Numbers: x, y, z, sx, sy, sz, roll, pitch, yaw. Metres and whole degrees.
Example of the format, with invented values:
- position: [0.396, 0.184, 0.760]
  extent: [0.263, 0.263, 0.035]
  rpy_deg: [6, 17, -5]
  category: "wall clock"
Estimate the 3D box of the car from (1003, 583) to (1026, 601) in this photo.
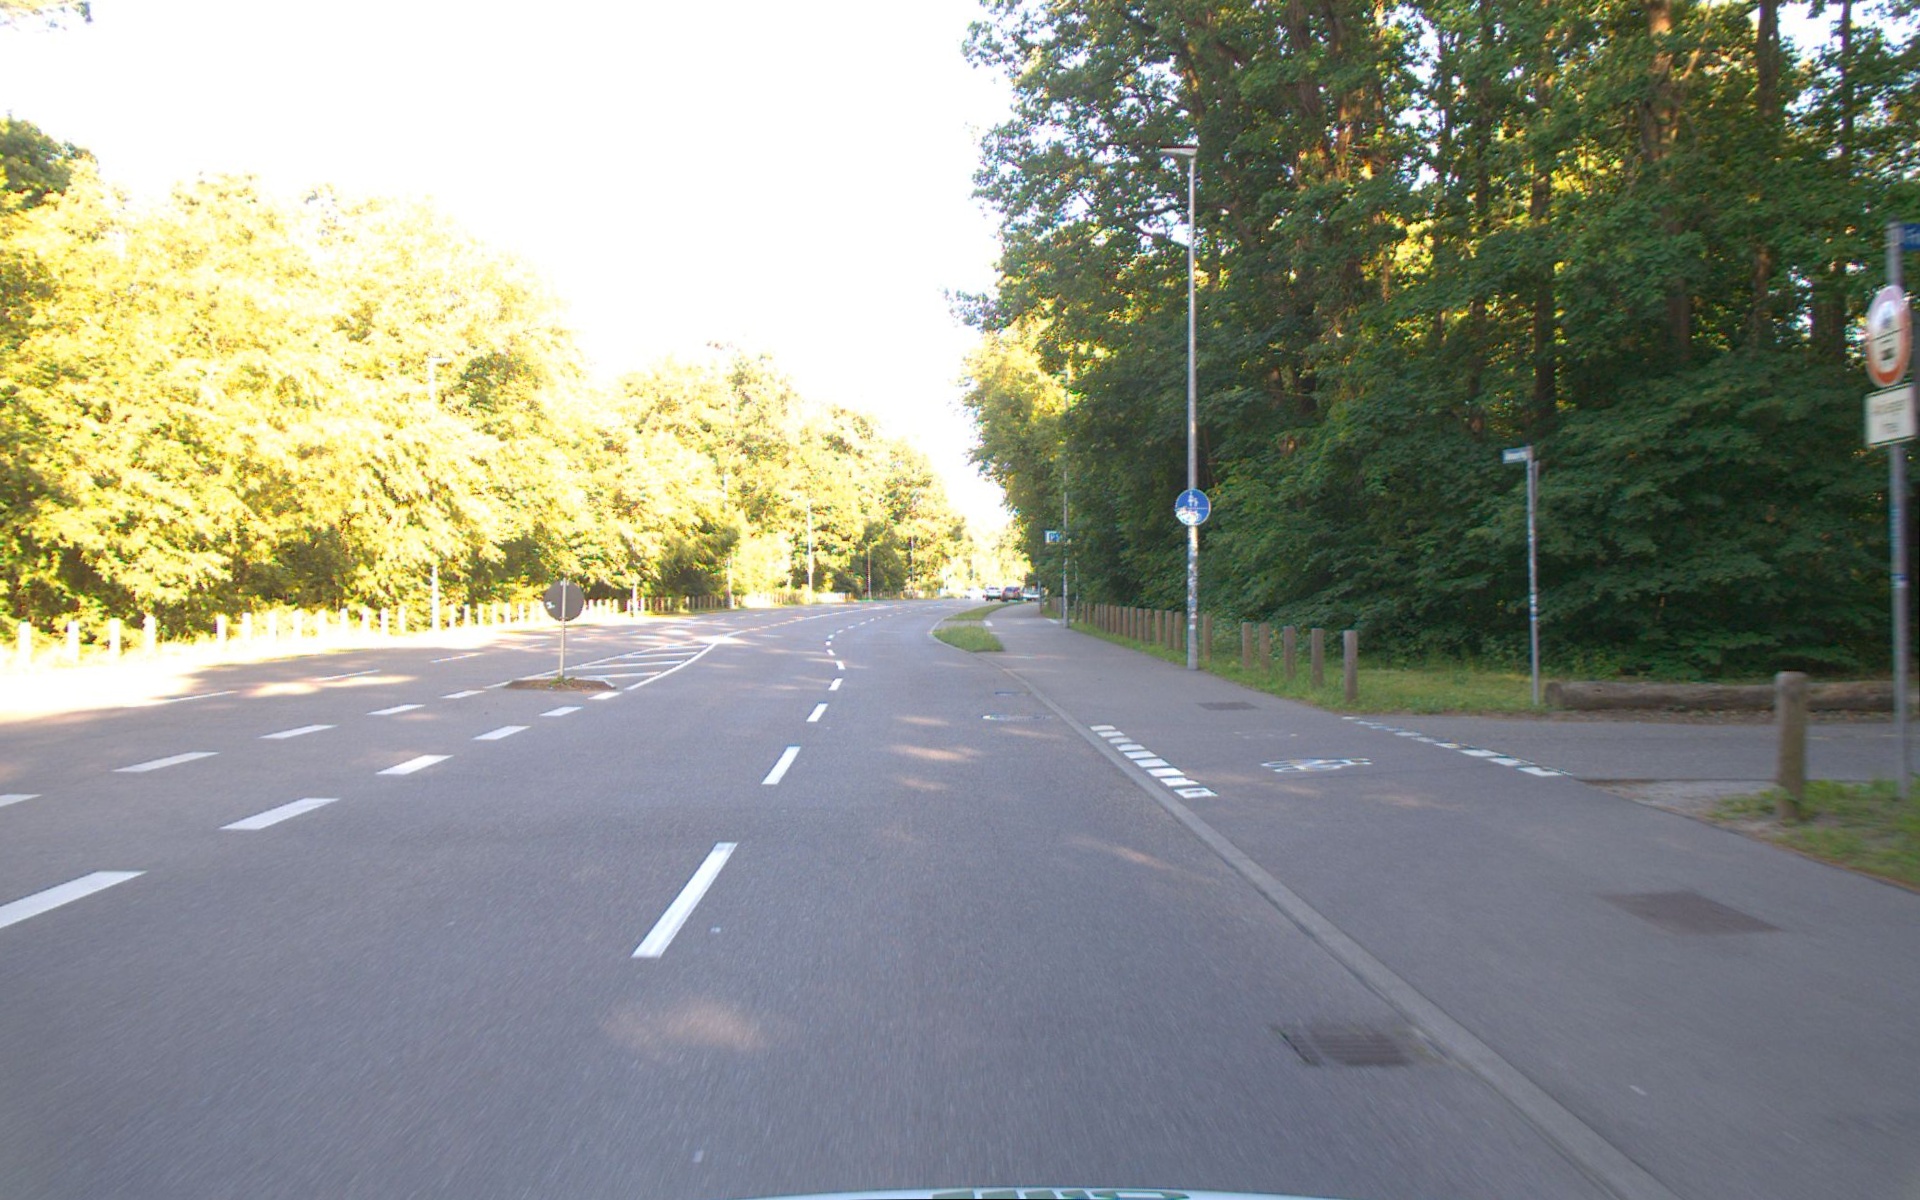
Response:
- position: [5.694, -0.858, 172.136]
  extent: [1.840, 1.796, 4.004]
  rpy_deg: [-1, 0, 11]
  category: "car"

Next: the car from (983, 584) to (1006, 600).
- position: [3.776, -0.875, 179.442]
  extent: [1.840, 1.739, 4.004]
  rpy_deg: [-1, 0, 11]
  category: "car"

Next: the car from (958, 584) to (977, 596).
- position: [0.923, -1.302, 207.455]
  extent: [1.741, 1.433, 4.169]
  rpy_deg: [0, 1, 10]
  category: "car"

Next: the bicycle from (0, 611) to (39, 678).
- position: [-16.871, 0.774, 28.583]
  extent: [0.392, 1.152, 2.221]
  rpy_deg: [1, 0, 8]
  category: "bicycle"

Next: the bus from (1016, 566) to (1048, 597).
- position: [8.266, -2.077, 189.182]
  extent: [2.549, 3.427, 7.983]
  rpy_deg: [0, 1, 10]
  category: "bus"
